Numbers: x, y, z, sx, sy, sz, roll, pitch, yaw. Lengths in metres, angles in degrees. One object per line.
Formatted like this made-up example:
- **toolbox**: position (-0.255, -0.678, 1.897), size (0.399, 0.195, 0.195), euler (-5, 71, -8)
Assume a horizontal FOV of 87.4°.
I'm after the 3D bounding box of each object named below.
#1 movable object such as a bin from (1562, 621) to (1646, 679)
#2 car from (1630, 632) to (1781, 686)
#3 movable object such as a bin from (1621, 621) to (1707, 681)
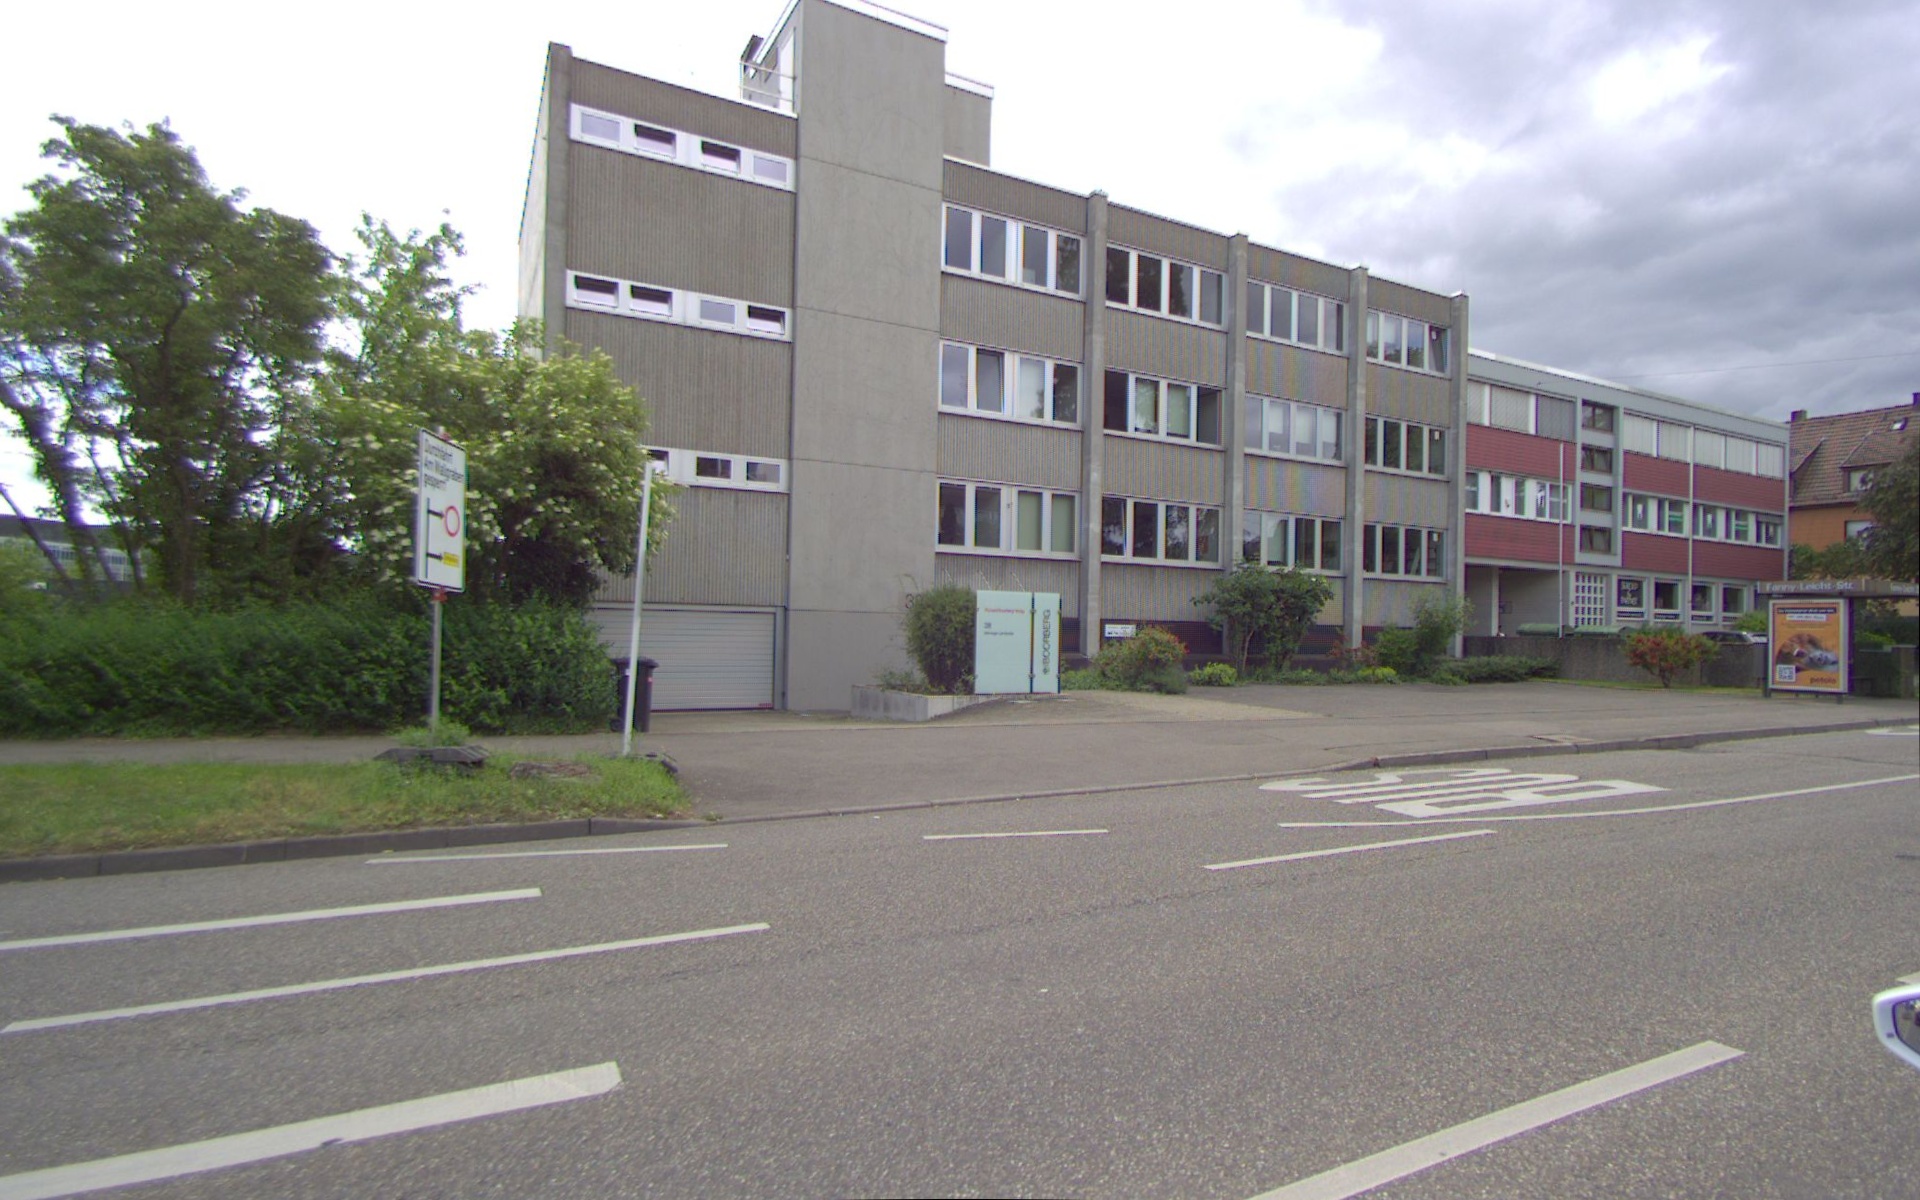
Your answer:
- **movable object such as a bin**: position (23.485, 1.794, 36.659), size (1.765, 2.040, 1.985), euler (1, -2, -29)
- **car**: position (26.602, 2.061, 35.975), size (1.834, 1.814, 3.967), euler (1, -2, -31)
- **movable object such as a bin**: position (24.449, 1.750, 34.903), size (1.524, 2.040, 1.985), euler (1, -2, -29)
